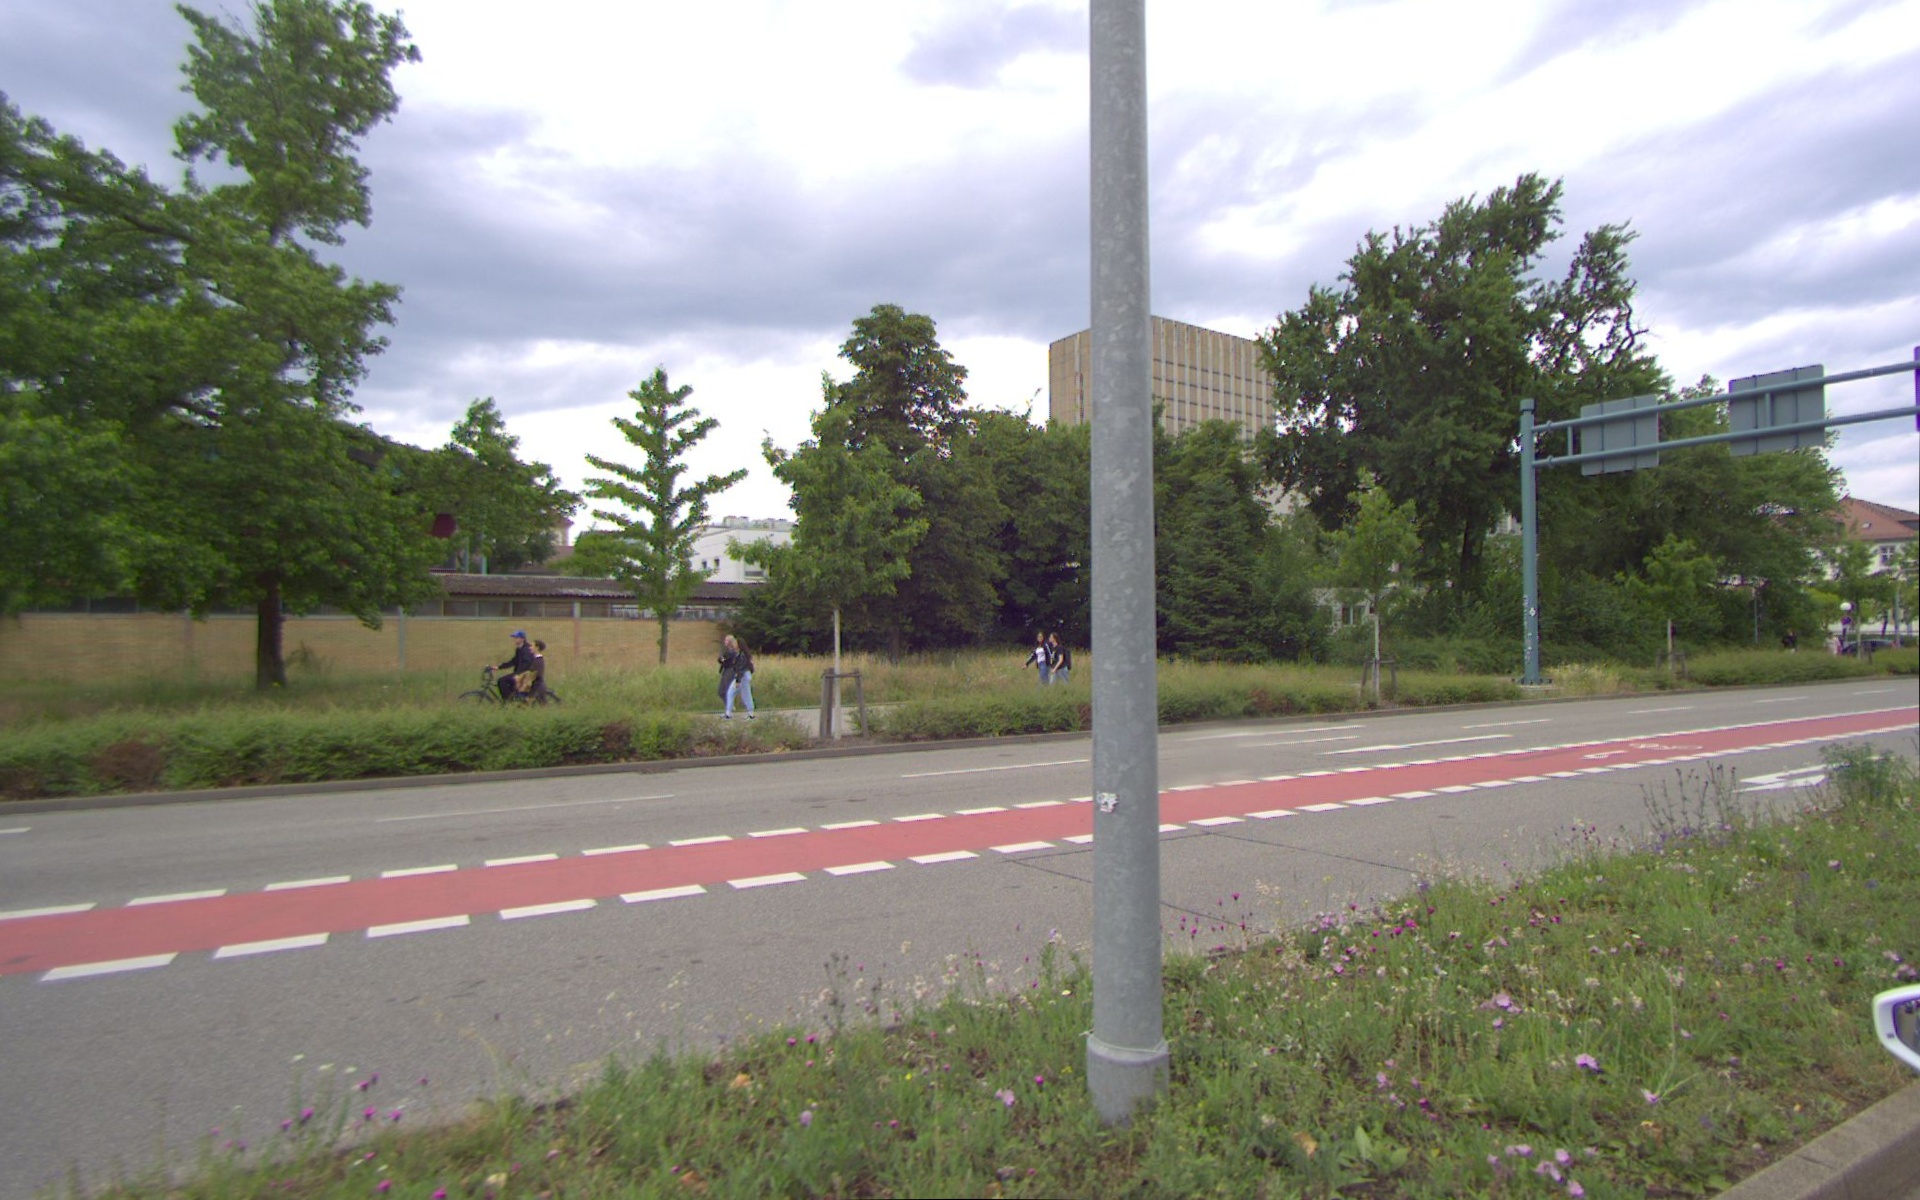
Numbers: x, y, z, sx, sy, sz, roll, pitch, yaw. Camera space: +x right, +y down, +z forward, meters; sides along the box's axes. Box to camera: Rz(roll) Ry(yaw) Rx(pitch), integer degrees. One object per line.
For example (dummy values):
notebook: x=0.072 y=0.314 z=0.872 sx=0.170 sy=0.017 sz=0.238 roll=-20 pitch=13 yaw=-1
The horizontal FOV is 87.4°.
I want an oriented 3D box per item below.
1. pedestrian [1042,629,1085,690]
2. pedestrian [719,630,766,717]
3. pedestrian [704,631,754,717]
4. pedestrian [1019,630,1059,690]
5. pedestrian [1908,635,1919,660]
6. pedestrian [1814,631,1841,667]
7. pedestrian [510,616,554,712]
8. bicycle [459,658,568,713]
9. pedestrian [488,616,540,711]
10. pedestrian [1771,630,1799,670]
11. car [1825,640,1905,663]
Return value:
pedestrian: x=2.352 y=1.355 z=22.911 sx=0.705 sy=1.375 sz=0.640 roll=1 pitch=-3 yaw=-37
pedestrian: x=-4.310 y=1.451 z=19.905 sx=0.713 sy=1.682 sz=0.581 roll=1 pitch=-3 yaw=-36
pedestrian: x=-4.715 y=1.493 z=20.481 sx=0.760 sy=1.694 sz=0.702 roll=1 pitch=-3 yaw=-36
pedestrian: x=1.850 y=1.411 z=23.532 sx=0.676 sy=1.380 sz=0.639 roll=1 pitch=-4 yaw=-44
pedestrian: x=60.762 y=3.023 z=63.845 sx=0.563 sy=1.545 sz=0.846 roll=-2 pitch=-7 yaw=36
pedestrian: x=40.522 y=2.290 z=46.909 sx=0.663 sy=1.657 sz=0.697 roll=0 pitch=-3 yaw=-30
pedestrian: x=-7.401 y=1.103 z=17.384 sx=0.606 sy=1.630 sz=0.575 roll=-1 pitch=-3 yaw=-14
bicycle: x=-7.961 y=1.516 z=17.962 sx=1.686 sy=0.899 sz=0.661 roll=-1 pitch=-3 yaw=-16
pedestrian: x=-7.969 y=1.128 z=17.980 sx=0.751 sy=1.653 sz=0.661 roll=-1 pitch=-3 yaw=-15
pedestrian: x=35.911 y=2.178 z=43.715 sx=0.809 sy=1.752 sz=0.617 roll=0 pitch=-3 yaw=-31
car: x=59.515 y=3.397 z=66.111 sx=1.548 sy=1.240 sz=3.631 roll=-8 pitch=3 yaw=-35
